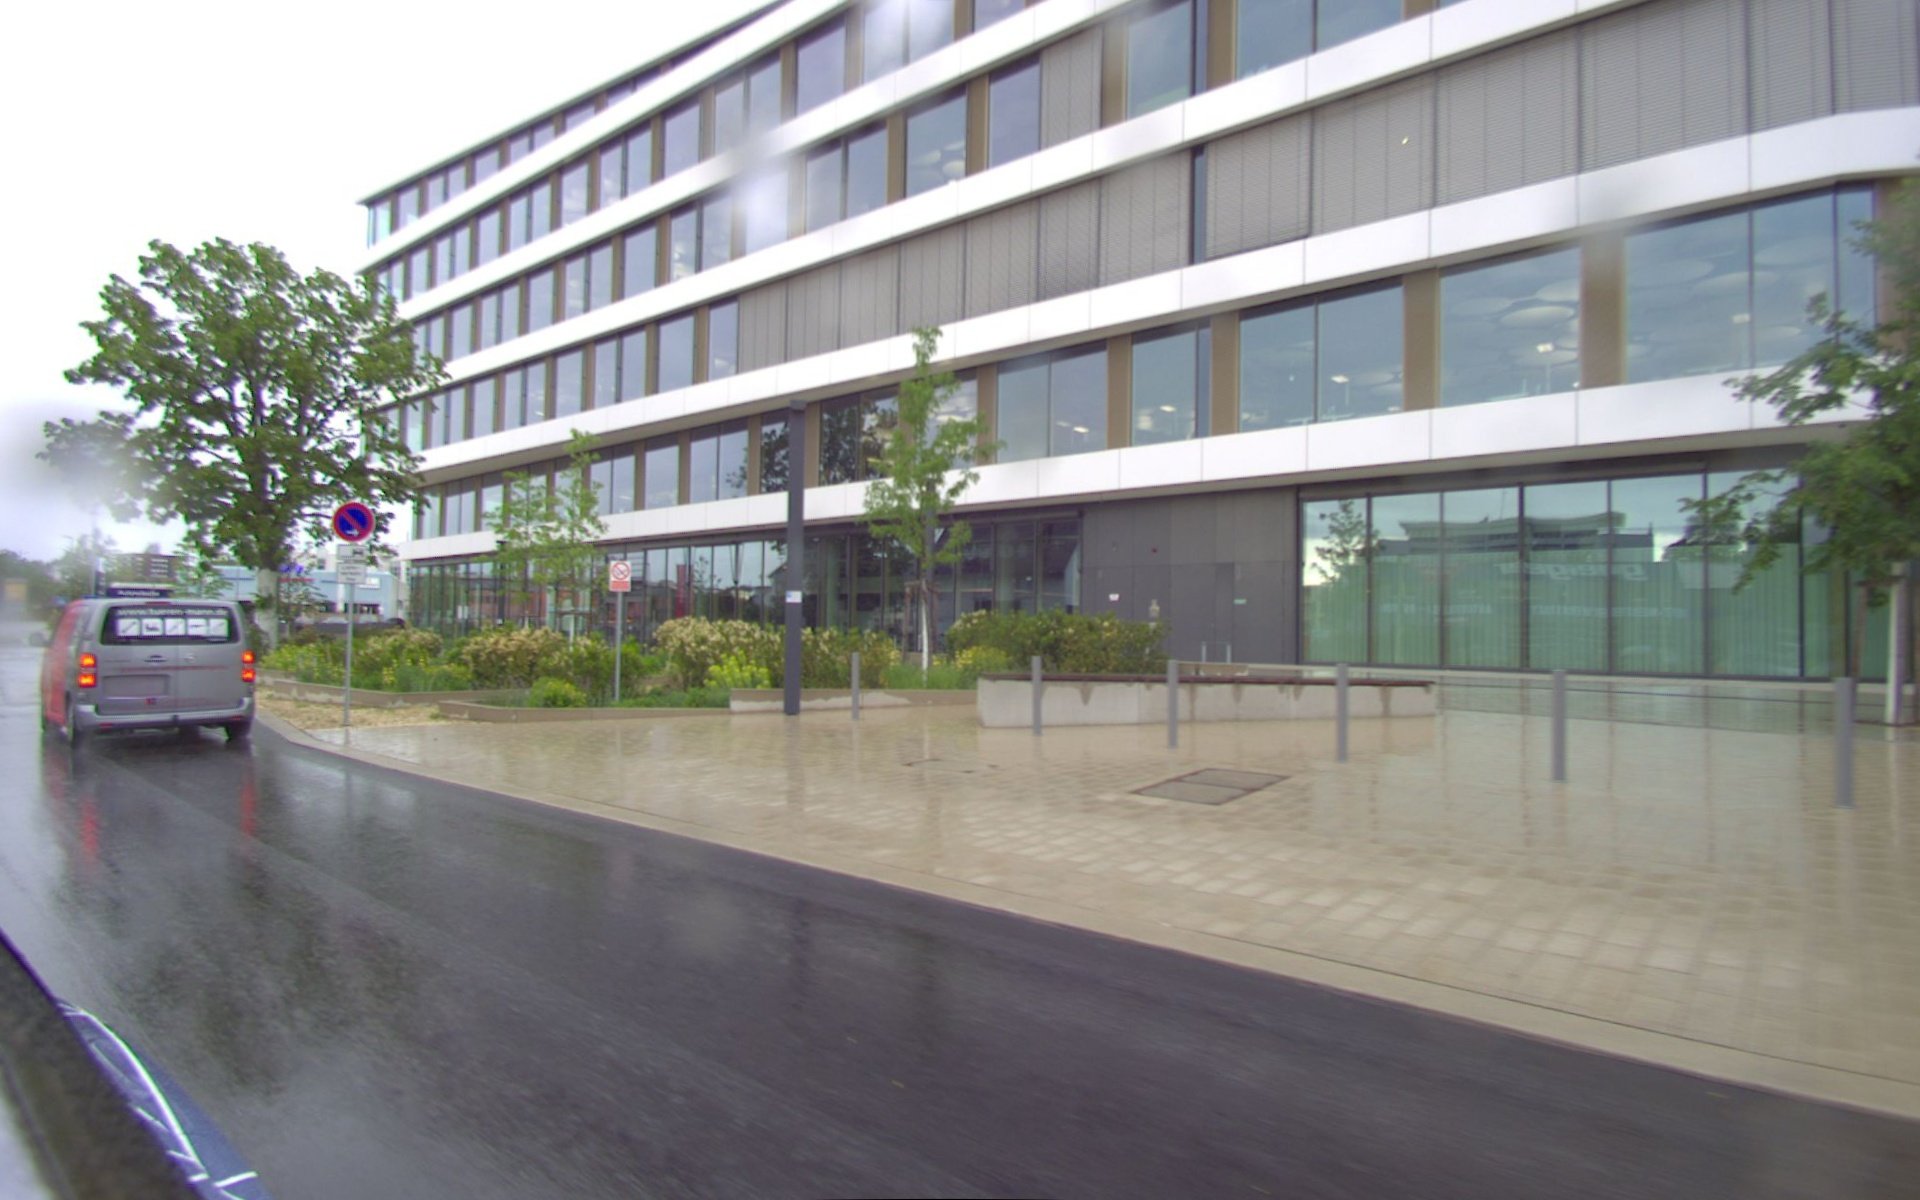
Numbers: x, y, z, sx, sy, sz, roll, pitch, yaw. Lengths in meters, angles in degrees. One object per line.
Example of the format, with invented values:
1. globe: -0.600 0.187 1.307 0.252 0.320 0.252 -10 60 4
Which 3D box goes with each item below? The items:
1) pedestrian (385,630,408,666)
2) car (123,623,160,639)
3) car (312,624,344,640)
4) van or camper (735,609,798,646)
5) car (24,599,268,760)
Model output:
1. pedestrian: -28.018 2.373 50.328 0.957 1.716 0.716 0 2 44
2. car: -82.887 3.103 102.536 1.888 1.541 4.013 -1 -1 -23
3. car: -55.959 2.794 89.681 1.855 1.305 4.013 -2 -1 -25
4. van or camper: -17.090 2.401 89.365 5.013 3.111 2.006 -1 -2 -28
5. car: -11.367 0.997 13.985 4.980 1.832 1.980 -2 -3 44
